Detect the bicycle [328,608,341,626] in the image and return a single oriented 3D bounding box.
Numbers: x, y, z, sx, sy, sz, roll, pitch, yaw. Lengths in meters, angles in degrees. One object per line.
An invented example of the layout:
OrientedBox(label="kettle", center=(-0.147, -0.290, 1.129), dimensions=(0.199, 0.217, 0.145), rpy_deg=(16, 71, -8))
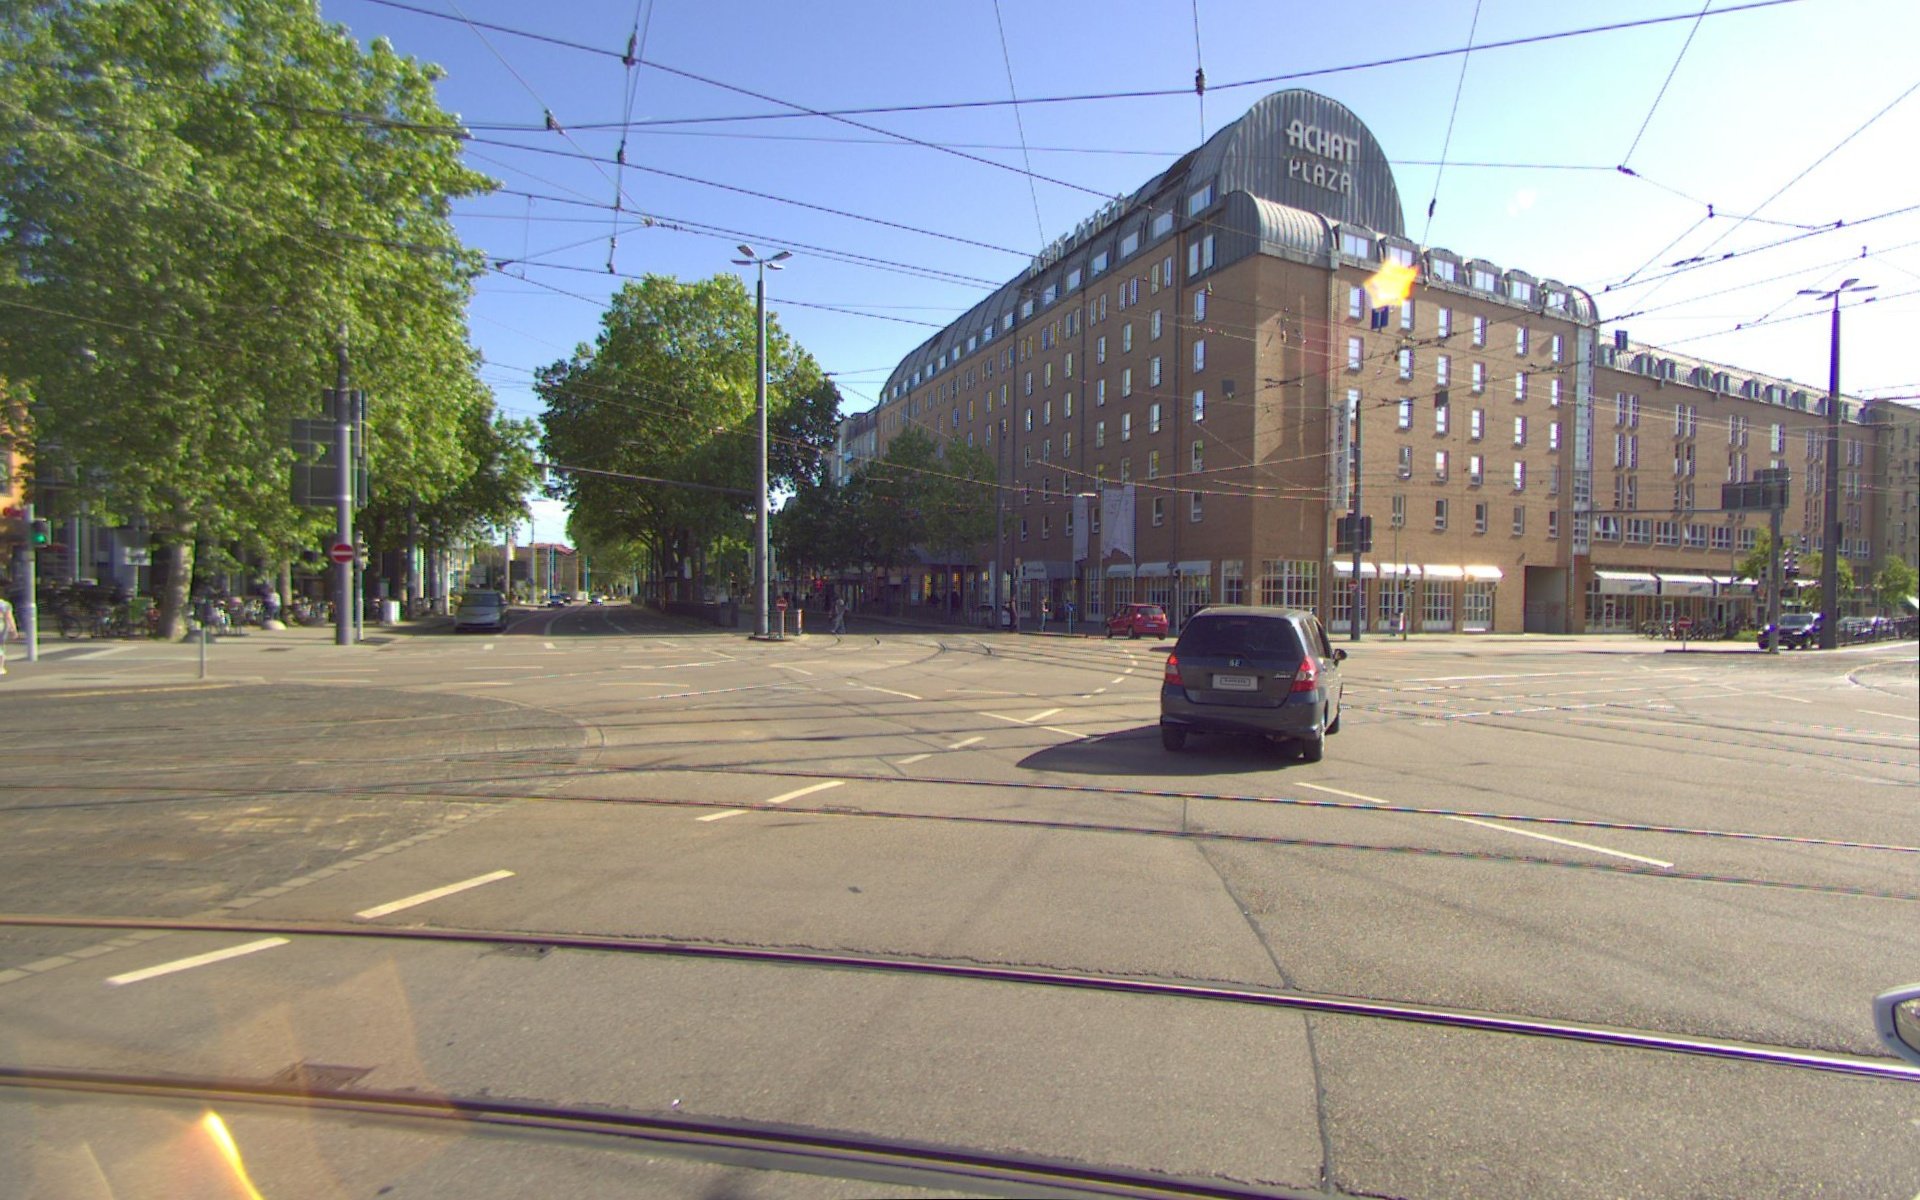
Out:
OrientedBox(label="bicycle", center=(-29.517, 0.788, 47.418), dimensions=(0.439, 0.793, 1.484), rpy_deg=(1, 0, -28))

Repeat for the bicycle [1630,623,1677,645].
OrientedBox(label="bicycle", center=(44.082, 2.170, 63.902), dimensions=(0.722, 1.327, 2.482), rpy_deg=(1, 0, -19))

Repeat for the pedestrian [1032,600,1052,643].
OrientedBox(label="pedestrian", center=(3.743, 0.986, 45.896), dimensions=(0.742, 1.958, 0.520), rpy_deg=(1, 0, -30))

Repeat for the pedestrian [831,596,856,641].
OrientedBox(label="pedestrian", center=(-5.181, 0.812, 44.554), dimensions=(0.895, 1.958, 0.698), rpy_deg=(1, 0, -30))

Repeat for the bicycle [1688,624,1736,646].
OrientedBox(label="bicycle", center=(48.784, 2.255, 65.196), dimensions=(0.722, 1.327, 2.482), rpy_deg=(1, 0, -19))

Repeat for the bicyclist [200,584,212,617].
OrientedBox(label="bicyclist", center=(-40.273, 0.018, 53.657), dimensions=(0.460, 1.744, 0.481), rpy_deg=(1, 0, -31))

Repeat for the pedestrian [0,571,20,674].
OrientedBox(label="pedestrian", center=(-17.520, 0.408, 18.350), dimensions=(0.381, 1.855, 0.461), rpy_deg=(1, 0, 41))

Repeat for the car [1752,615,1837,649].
OrientedBox(label="car", center=(36.694, 1.409, 44.138), dimensions=(3.873, 1.416, 1.602), rpy_deg=(0, -3, -30))

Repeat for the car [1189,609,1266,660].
OrientedBox(label="car", center=(8.600, 1.058, 32.609), dimensions=(1.697, 1.468, 4.523), rpy_deg=(1, 0, 6))

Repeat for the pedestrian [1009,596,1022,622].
OrientedBox(label="pedestrian", center=(4.139, 0.674, 74.977), dimensions=(0.822, 1.958, 0.556), rpy_deg=(1, 0, -27))

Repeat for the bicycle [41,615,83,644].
OrientedBox(label="bicycle", center=(-26.914, 0.874, 30.121), dimensions=(0.371, 0.809, 2.017), rpy_deg=(1, 0, -26))

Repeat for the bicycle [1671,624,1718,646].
OrientedBox(label="bicycle", center=(47.059, 2.222, 64.395), dimensions=(0.722, 1.327, 2.482), rpy_deg=(1, 0, -19))

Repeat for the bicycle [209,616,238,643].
OrientedBox(label="bicycle", center=(-23.741, 0.945, 32.395), dimensions=(0.371, 0.809, 2.017), rpy_deg=(1, 0, -26))

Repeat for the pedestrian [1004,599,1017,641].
OrientedBox(label="pedestrian", center=(2.351, 0.933, 46.703), dimensions=(0.518, 1.958, 0.524), rpy_deg=(1, 0, -4))

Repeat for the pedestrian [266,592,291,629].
OrientedBox(label="pedestrian", center=(-27.745, 0.420, 40.903), dimensions=(0.491, 1.471, 0.649), rpy_deg=(1, 0, 9))

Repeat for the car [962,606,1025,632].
OrientedBox(label="car", center=(1.900, 1.073, 58.733), dimensions=(2.037, 1.400, 4.389), rpy_deg=(1, 0, -22))

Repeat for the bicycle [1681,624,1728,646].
OrientedBox(label="bicycle", center=(48.047, 2.244, 64.838), dimensions=(0.722, 1.327, 2.482), rpy_deg=(1, 0, -19))

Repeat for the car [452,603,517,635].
OrientedBox(label="car", center=(-19.973, 0.760, 42.366), dimensions=(1.968, 1.247, 3.984), rpy_deg=(1, 0, -18))

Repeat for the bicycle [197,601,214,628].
OrientedBox(label="bicycle", center=(-40.291, 0.754, 53.652), dimensions=(0.460, 1.370, 2.352), rpy_deg=(1, 0, -30))

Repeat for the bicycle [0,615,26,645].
OrientedBox(label="bicycle", center=(-27.827, 0.859, 29.209), dimensions=(0.371, 0.809, 2.017), rpy_deg=(1, 0, -26))

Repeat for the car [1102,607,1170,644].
OrientedBox(label="car", center=(7.513, 1.057, 43.216), dimensions=(1.630, 1.468, 3.575), rpy_deg=(1, 0, -13))

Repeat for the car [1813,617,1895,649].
OrientedBox(label="car", center=(42.243, 1.558, 47.456), dimensions=(4.177, 1.416, 1.602), rpy_deg=(0, -3, -30))

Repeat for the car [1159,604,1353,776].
OrientedBox(label="car", center=(3.494, 0.857, 11.420), dimensions=(1.699, 1.585, 3.675), rpy_deg=(1, 0, 23))

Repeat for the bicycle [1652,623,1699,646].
OrientedBox(label="bicycle", center=(45.573, 2.192, 64.013), dimensions=(0.722, 1.327, 2.482), rpy_deg=(1, 0, -19))

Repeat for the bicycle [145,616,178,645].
OrientedBox(label="bicycle", center=(-24.687, 0.931, 31.075), dimensions=(0.371, 0.809, 2.017), rpy_deg=(1, 0, -26))
